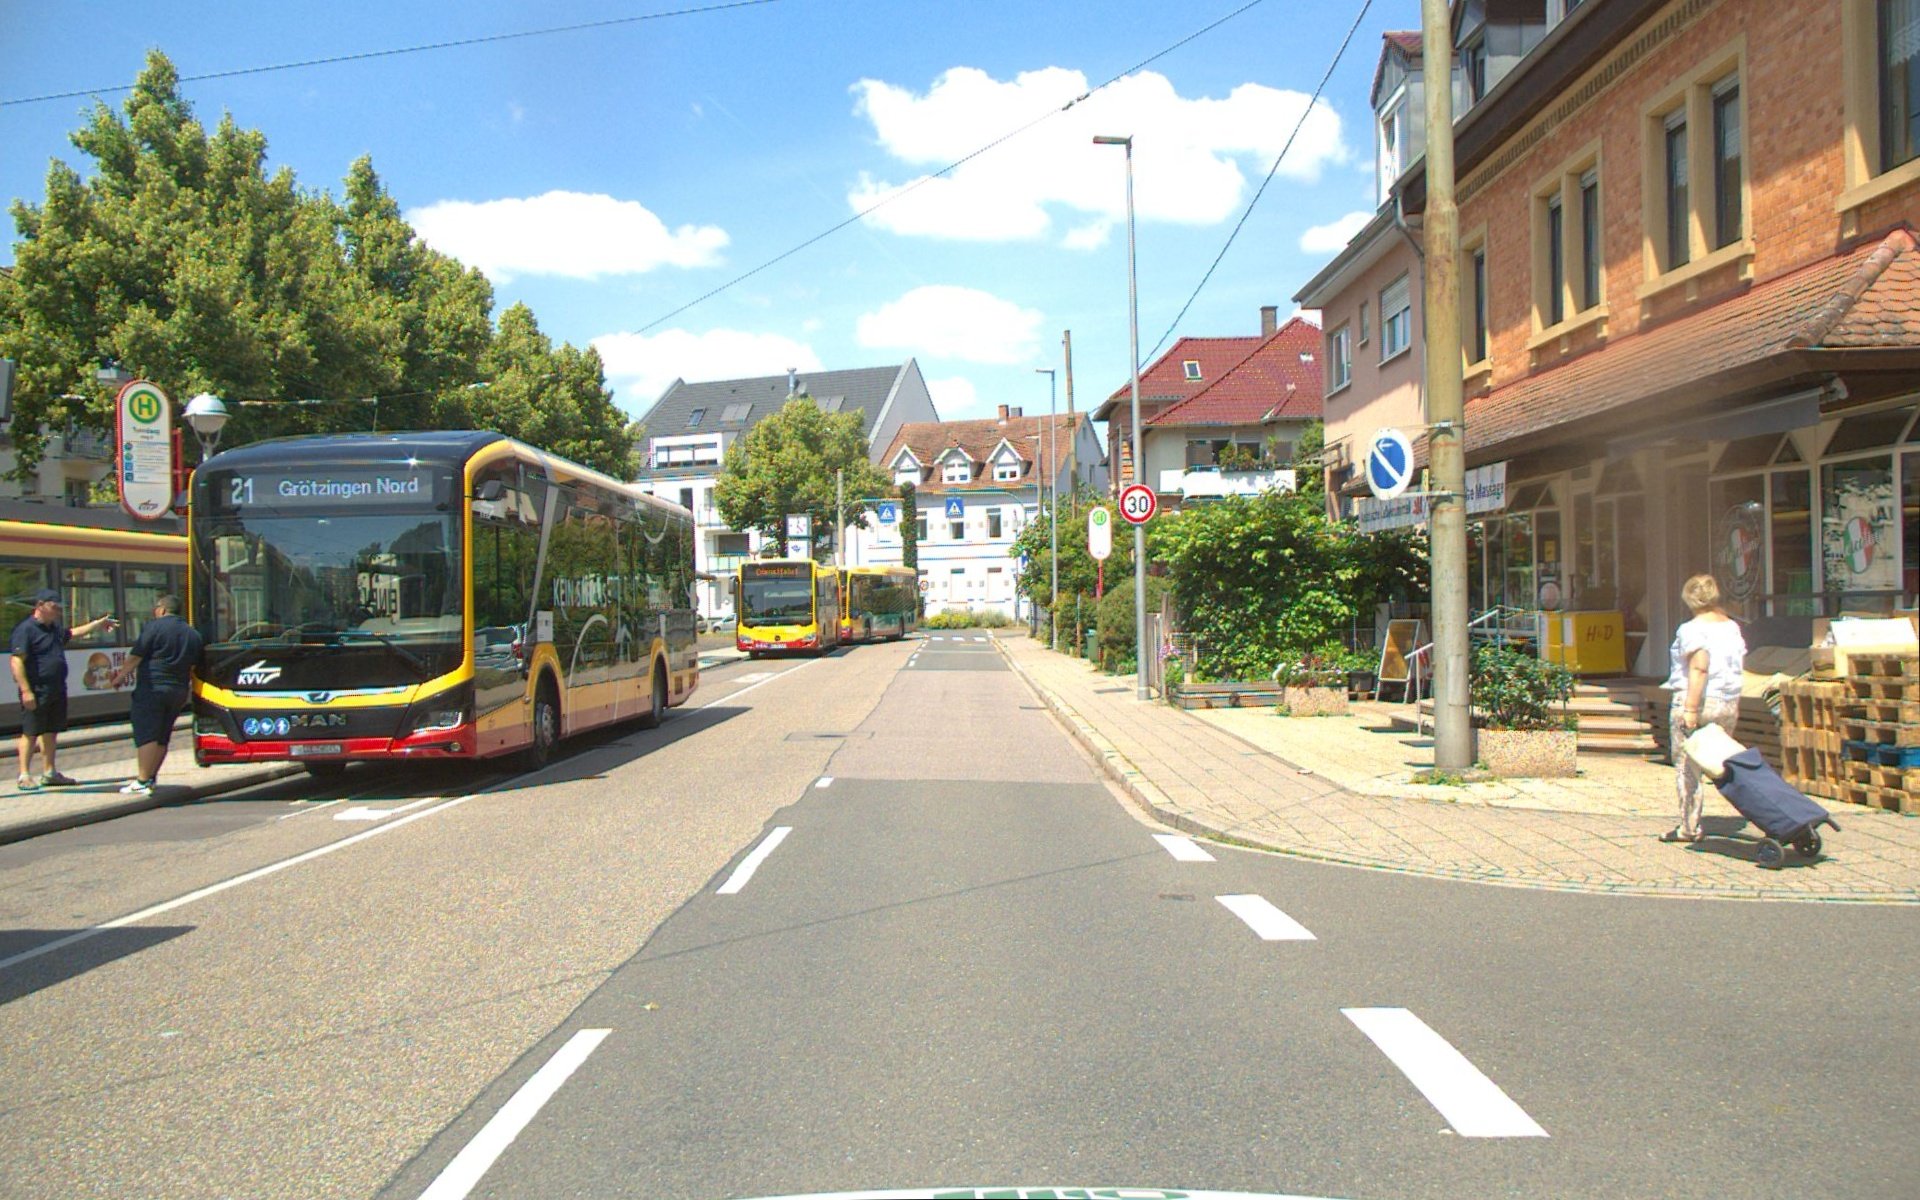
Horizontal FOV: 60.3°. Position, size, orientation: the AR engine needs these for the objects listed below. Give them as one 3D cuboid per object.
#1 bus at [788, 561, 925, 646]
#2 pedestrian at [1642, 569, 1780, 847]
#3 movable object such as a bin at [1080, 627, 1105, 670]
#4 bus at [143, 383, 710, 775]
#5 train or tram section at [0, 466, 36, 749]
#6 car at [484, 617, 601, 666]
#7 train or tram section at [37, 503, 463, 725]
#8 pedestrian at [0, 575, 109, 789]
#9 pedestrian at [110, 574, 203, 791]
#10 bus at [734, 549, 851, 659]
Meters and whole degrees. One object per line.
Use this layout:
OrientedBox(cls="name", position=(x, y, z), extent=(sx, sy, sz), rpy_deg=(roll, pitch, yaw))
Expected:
OrientedBox(cls="bus", position=(-4.137, 0.089, 69.942), extent=(2.720, 3.264, 12.317), rpy_deg=(1, 0, 11))
OrientedBox(cls="pedestrian", position=(4.704, 0.659, 10.402), extent=(0.690, 1.670, 0.660), rpy_deg=(-2, 1, 20))
OrientedBox(cls="movable object such as a bin", position=(2.995, 1.100, 37.291), extent=(0.398, 0.922, 0.729), rpy_deg=(-4, -2, -3))
OrientedBox(cls="bus", position=(-5.459, -0.003, 20.192), extent=(2.838, 3.304, 12.194), rpy_deg=(1, -2, 0))
OrientedBox(cls="train or tram section", position=(-14.013, -0.021, 13.756), extent=(2.903, 3.706, 17.349), rpy_deg=(1, -1, 0))
OrientedBox(cls="car", position=(-12.352, 1.237, 48.937), extent=(3.230, 1.397, 1.460), rpy_deg=(1, -2, -21))
OrientedBox(cls="train or tram section", position=(-14.031, 0.328, 34.818), extent=(2.903, 3.706, 13.992), rpy_deg=(1, -1, 0))
OrientedBox(cls="pedestrian", position=(-7.958, 0.708, 14.445), extent=(0.776, 1.808, 0.565), rpy_deg=(3, -3, -42))
OrientedBox(cls="pedestrian", position=(-6.862, 0.699, 14.124), extent=(0.589, 1.808, 0.380), rpy_deg=(3, -3, -43))
OrientedBox(cls="bus", position=(-5.503, 0.201, 56.455), extent=(2.848, 3.305, 12.116), rpy_deg=(1, -1, -1))
